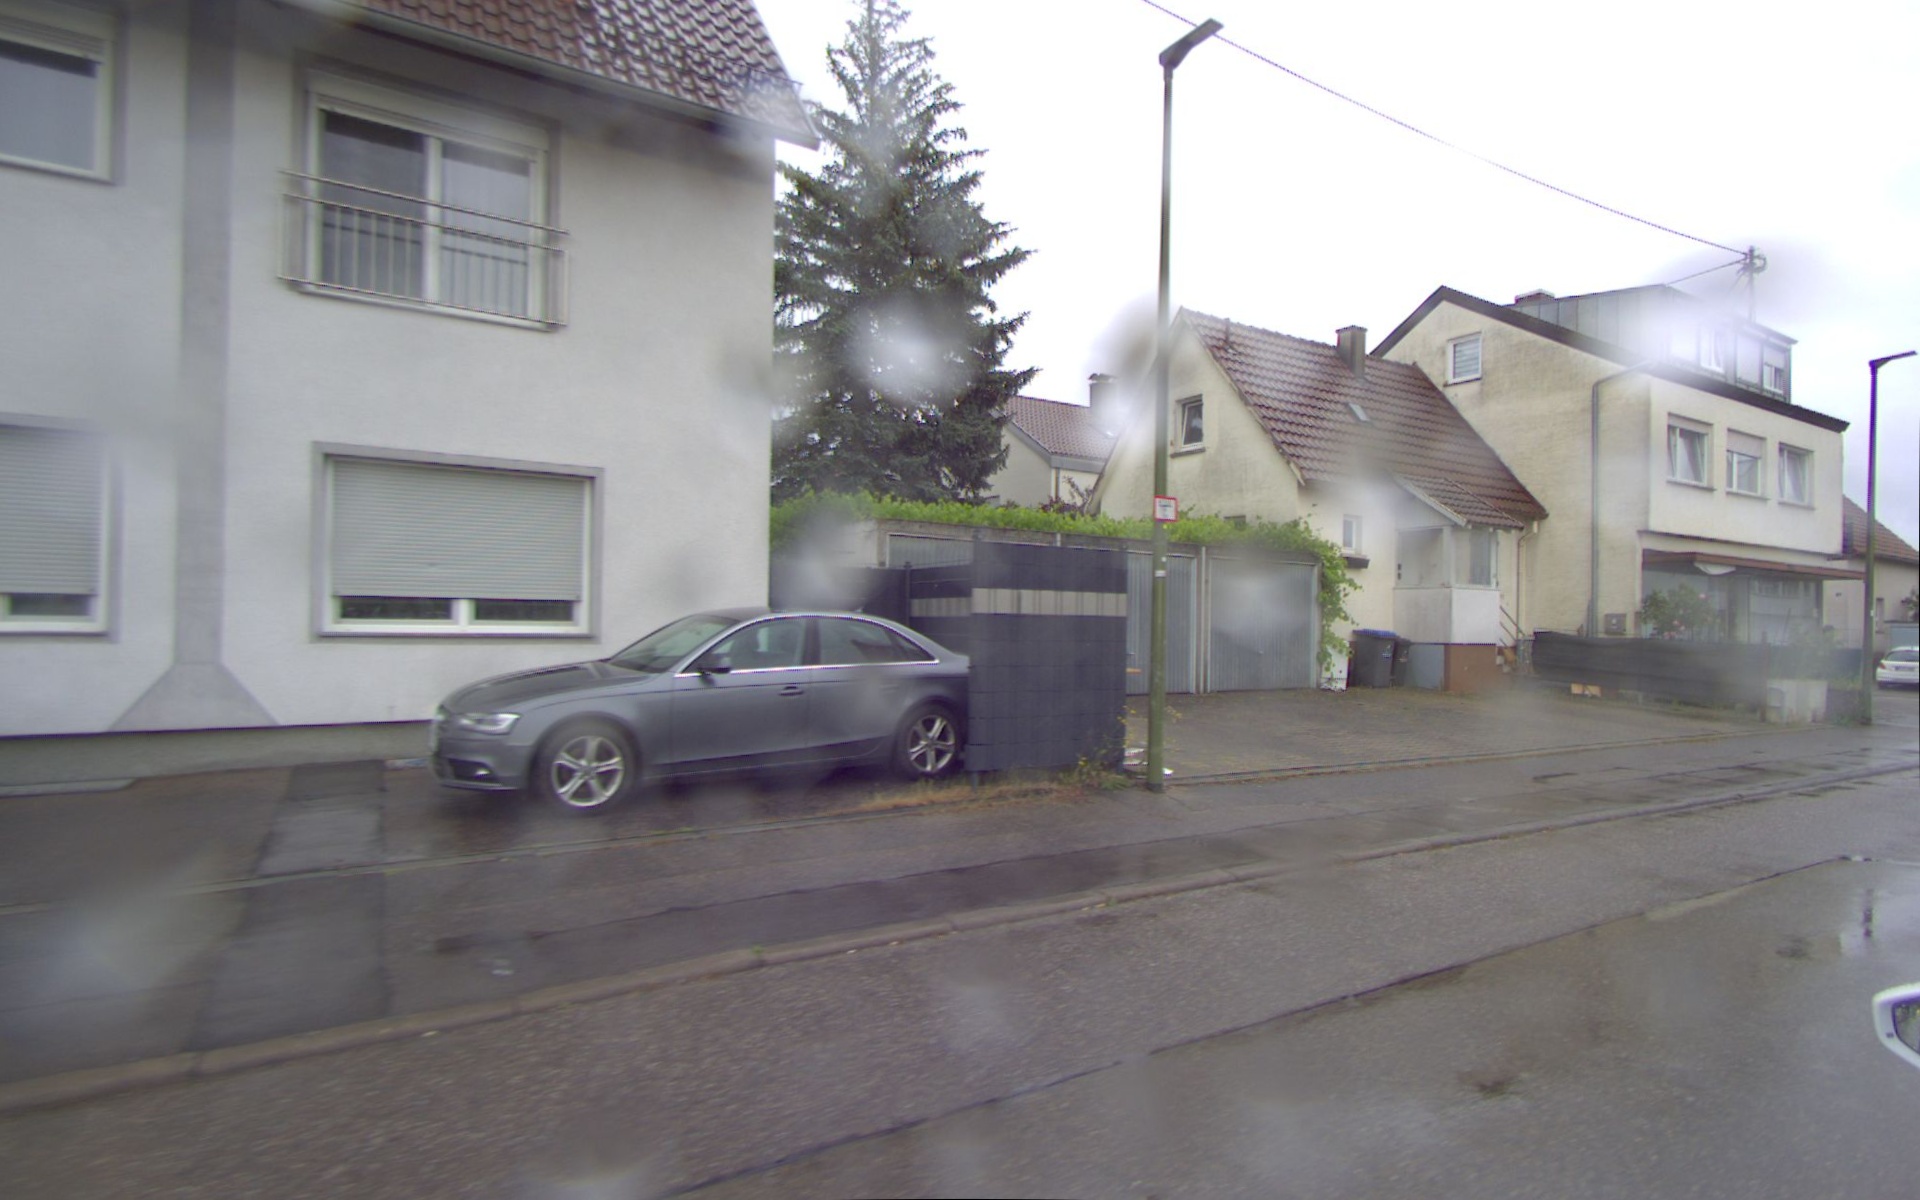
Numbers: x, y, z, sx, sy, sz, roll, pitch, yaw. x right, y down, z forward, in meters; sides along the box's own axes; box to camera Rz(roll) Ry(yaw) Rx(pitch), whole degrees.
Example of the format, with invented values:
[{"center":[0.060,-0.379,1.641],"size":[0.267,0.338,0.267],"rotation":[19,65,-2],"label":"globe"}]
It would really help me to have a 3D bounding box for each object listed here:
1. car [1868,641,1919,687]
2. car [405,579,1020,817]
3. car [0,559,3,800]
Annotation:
[{"center":[34.764,2.279,36.394],"size":[3.956,1.528,1.784],"rotation":[1,-1,-32],"label":"car"},{"center":[-1.855,0.621,8.209],"size":[4.524,1.387,1.814],"rotation":[1,3,-36],"label":"car"},{"center":[-7.653,0.520,4.282],"size":[4.841,1.530,1.982],"rotation":[1,3,-32],"label":"car"}]
